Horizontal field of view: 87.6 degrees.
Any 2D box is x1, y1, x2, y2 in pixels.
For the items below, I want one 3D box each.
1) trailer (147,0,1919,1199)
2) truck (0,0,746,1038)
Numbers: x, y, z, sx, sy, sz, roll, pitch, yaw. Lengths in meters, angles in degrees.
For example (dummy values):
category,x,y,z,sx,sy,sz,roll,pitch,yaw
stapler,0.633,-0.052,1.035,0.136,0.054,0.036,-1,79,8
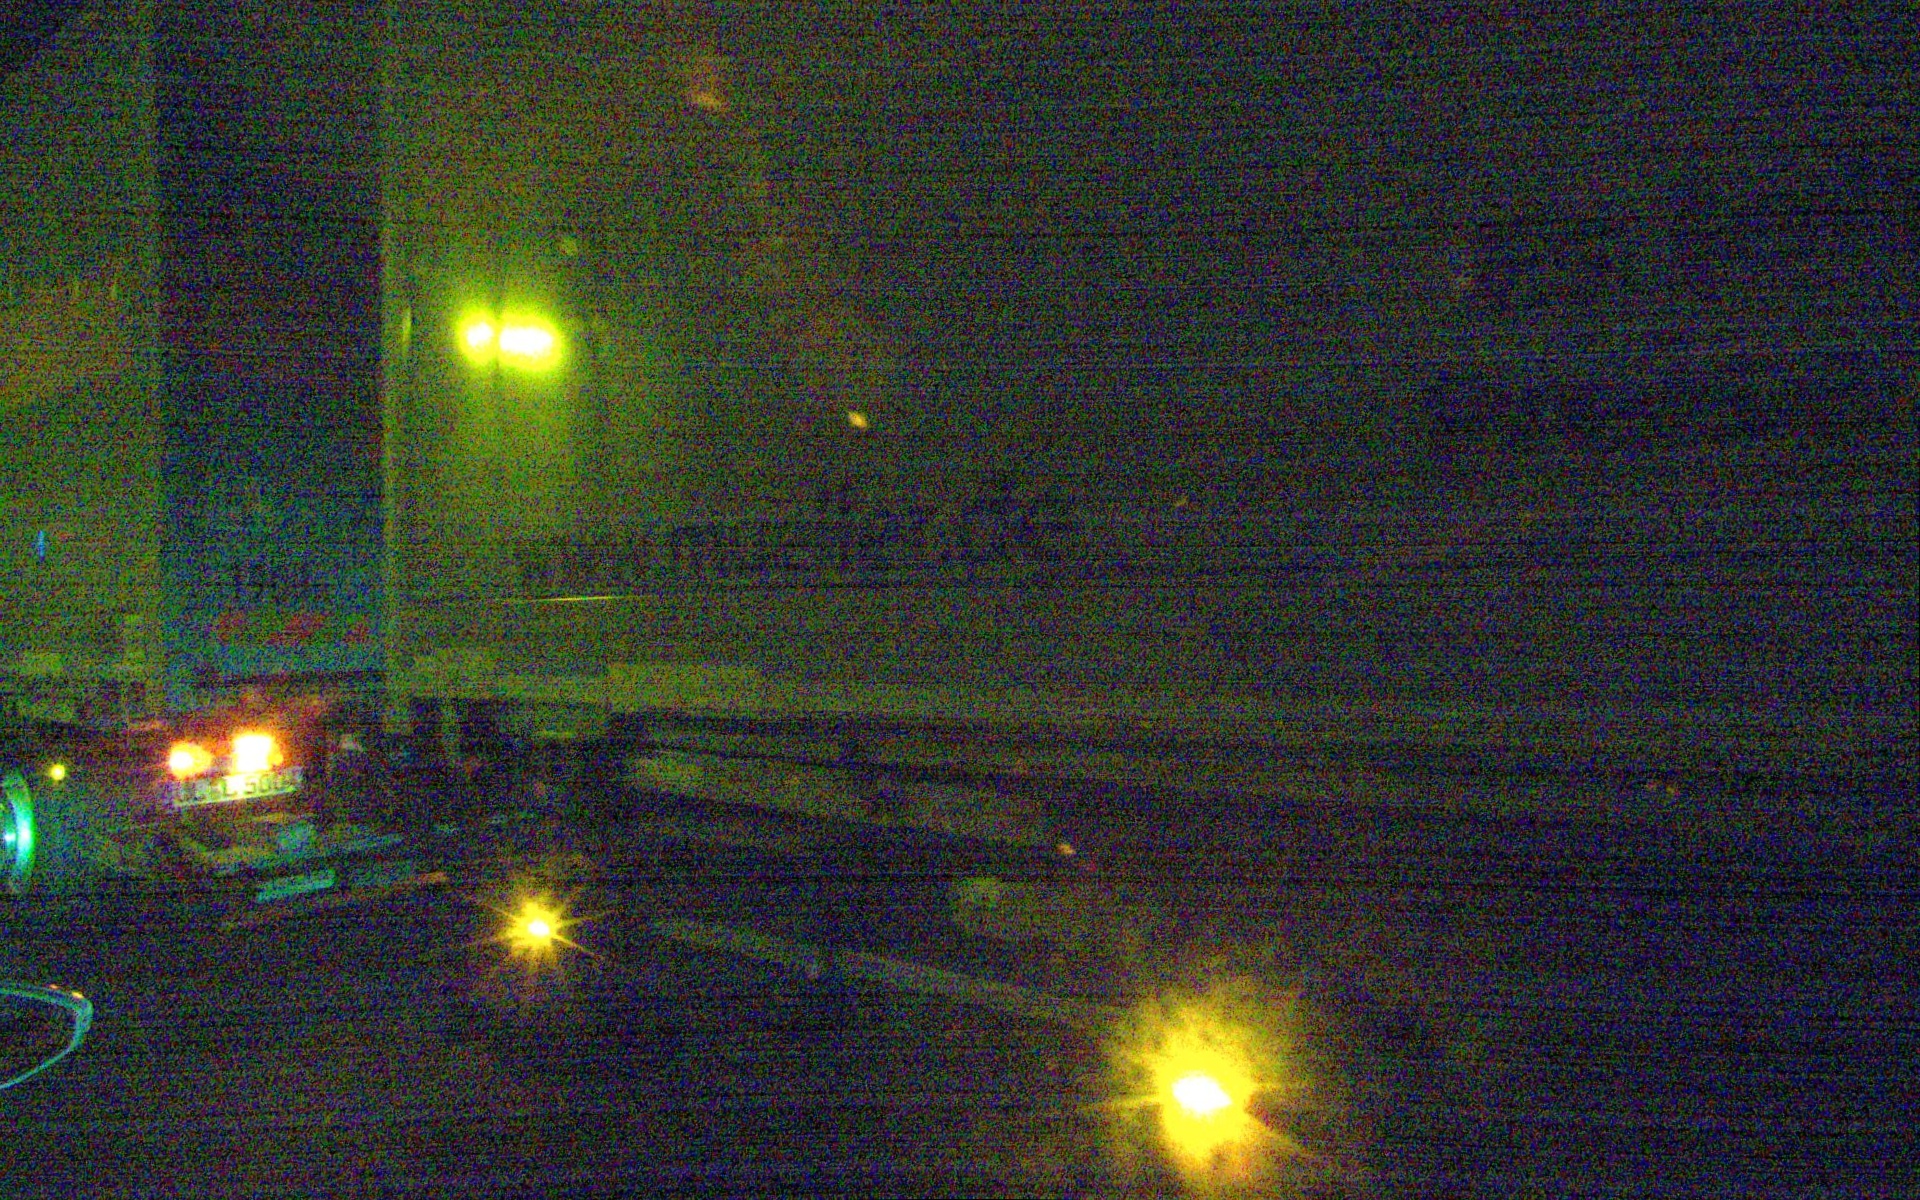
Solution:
category,x,y,z,sx,sy,sz,roll,pitch,yaw
trailer,1.664,-0.464,2.274,8.822,3.909,2.869,-1,0,33
truck,-6.163,-0.395,7.318,9.767,3.965,2.883,-1,0,32
